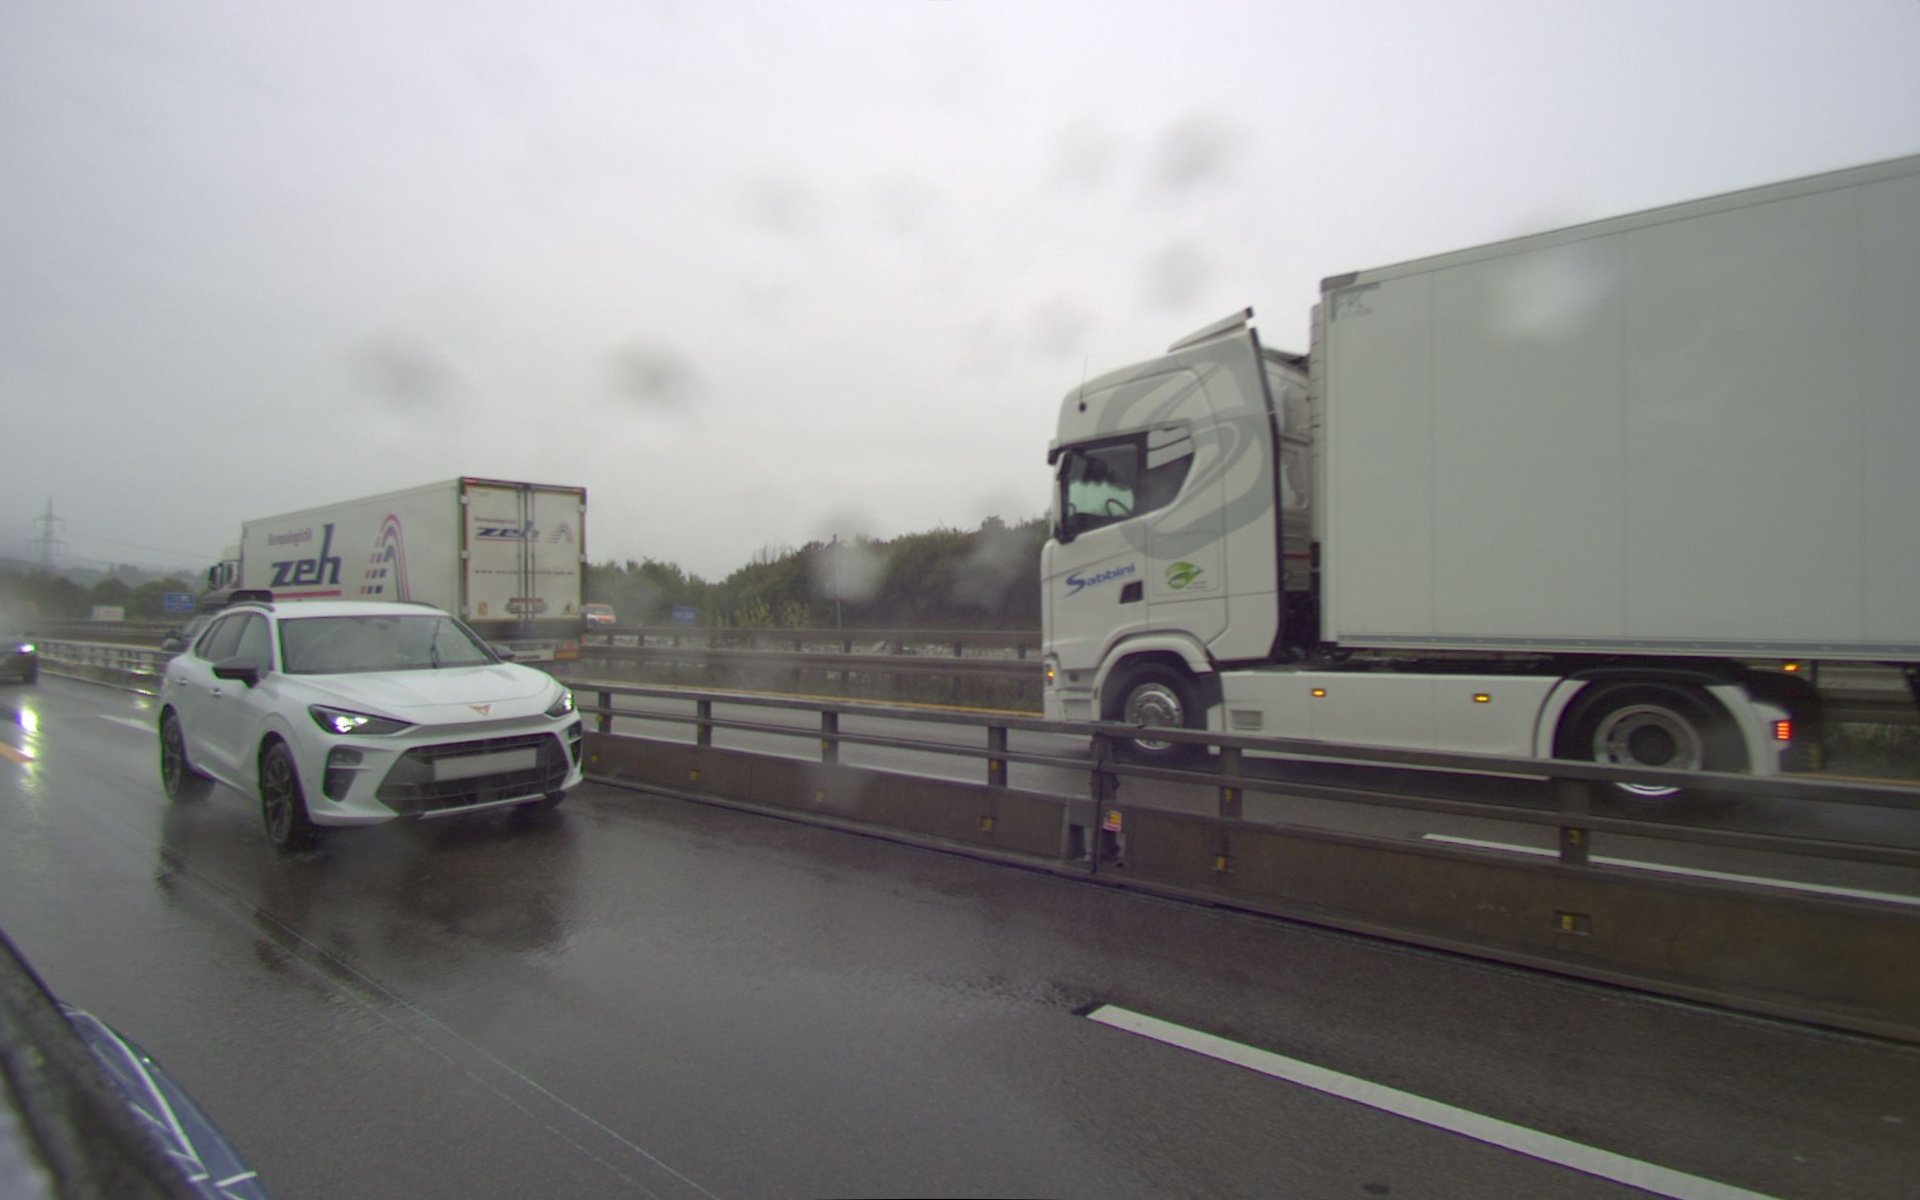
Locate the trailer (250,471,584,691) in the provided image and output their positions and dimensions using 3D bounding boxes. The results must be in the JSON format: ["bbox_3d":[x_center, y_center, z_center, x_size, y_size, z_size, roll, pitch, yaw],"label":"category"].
[{"bbox_3d":[-13.241,-0.269,23.725,12.577,4.080,2.469,-1,-1,40],"label":"trailer"}]

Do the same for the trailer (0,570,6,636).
[{"bbox_3d":[-64.724,0.238,65.457,12.415,4.108,2.575,-1,0,38],"label":"trailer"}]

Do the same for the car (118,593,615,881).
[{"bbox_3d":[-4.856,0.782,7.890,5.005,1.562,1.907,-1,-1,42],"label":"car"}]

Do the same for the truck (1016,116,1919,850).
[{"bbox_3d":[4.103,-0.577,8.730,6.922,4.133,2.853,-2,-2,41],"label":"truck"}]

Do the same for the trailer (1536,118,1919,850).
[{"bbox_3d":[9.517,-0.755,3.984,12.213,4.121,2.877,-2,-2,41],"label":"trailer"}]

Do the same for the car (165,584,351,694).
[{"bbox_3d":[-13.726,0.738,19.703,4.430,1.899,1.973,-2,-2,41],"label":"car"}]

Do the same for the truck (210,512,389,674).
[{"bbox_3d":[-18.585,-0.131,28.307,6.443,4.061,2.458,-1,-1,40],"label":"truck"}]

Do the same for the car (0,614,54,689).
[{"bbox_3d":[-23.186,1.179,23.892,5.192,1.640,2.043,-1,-1,41],"label":"car"}]
